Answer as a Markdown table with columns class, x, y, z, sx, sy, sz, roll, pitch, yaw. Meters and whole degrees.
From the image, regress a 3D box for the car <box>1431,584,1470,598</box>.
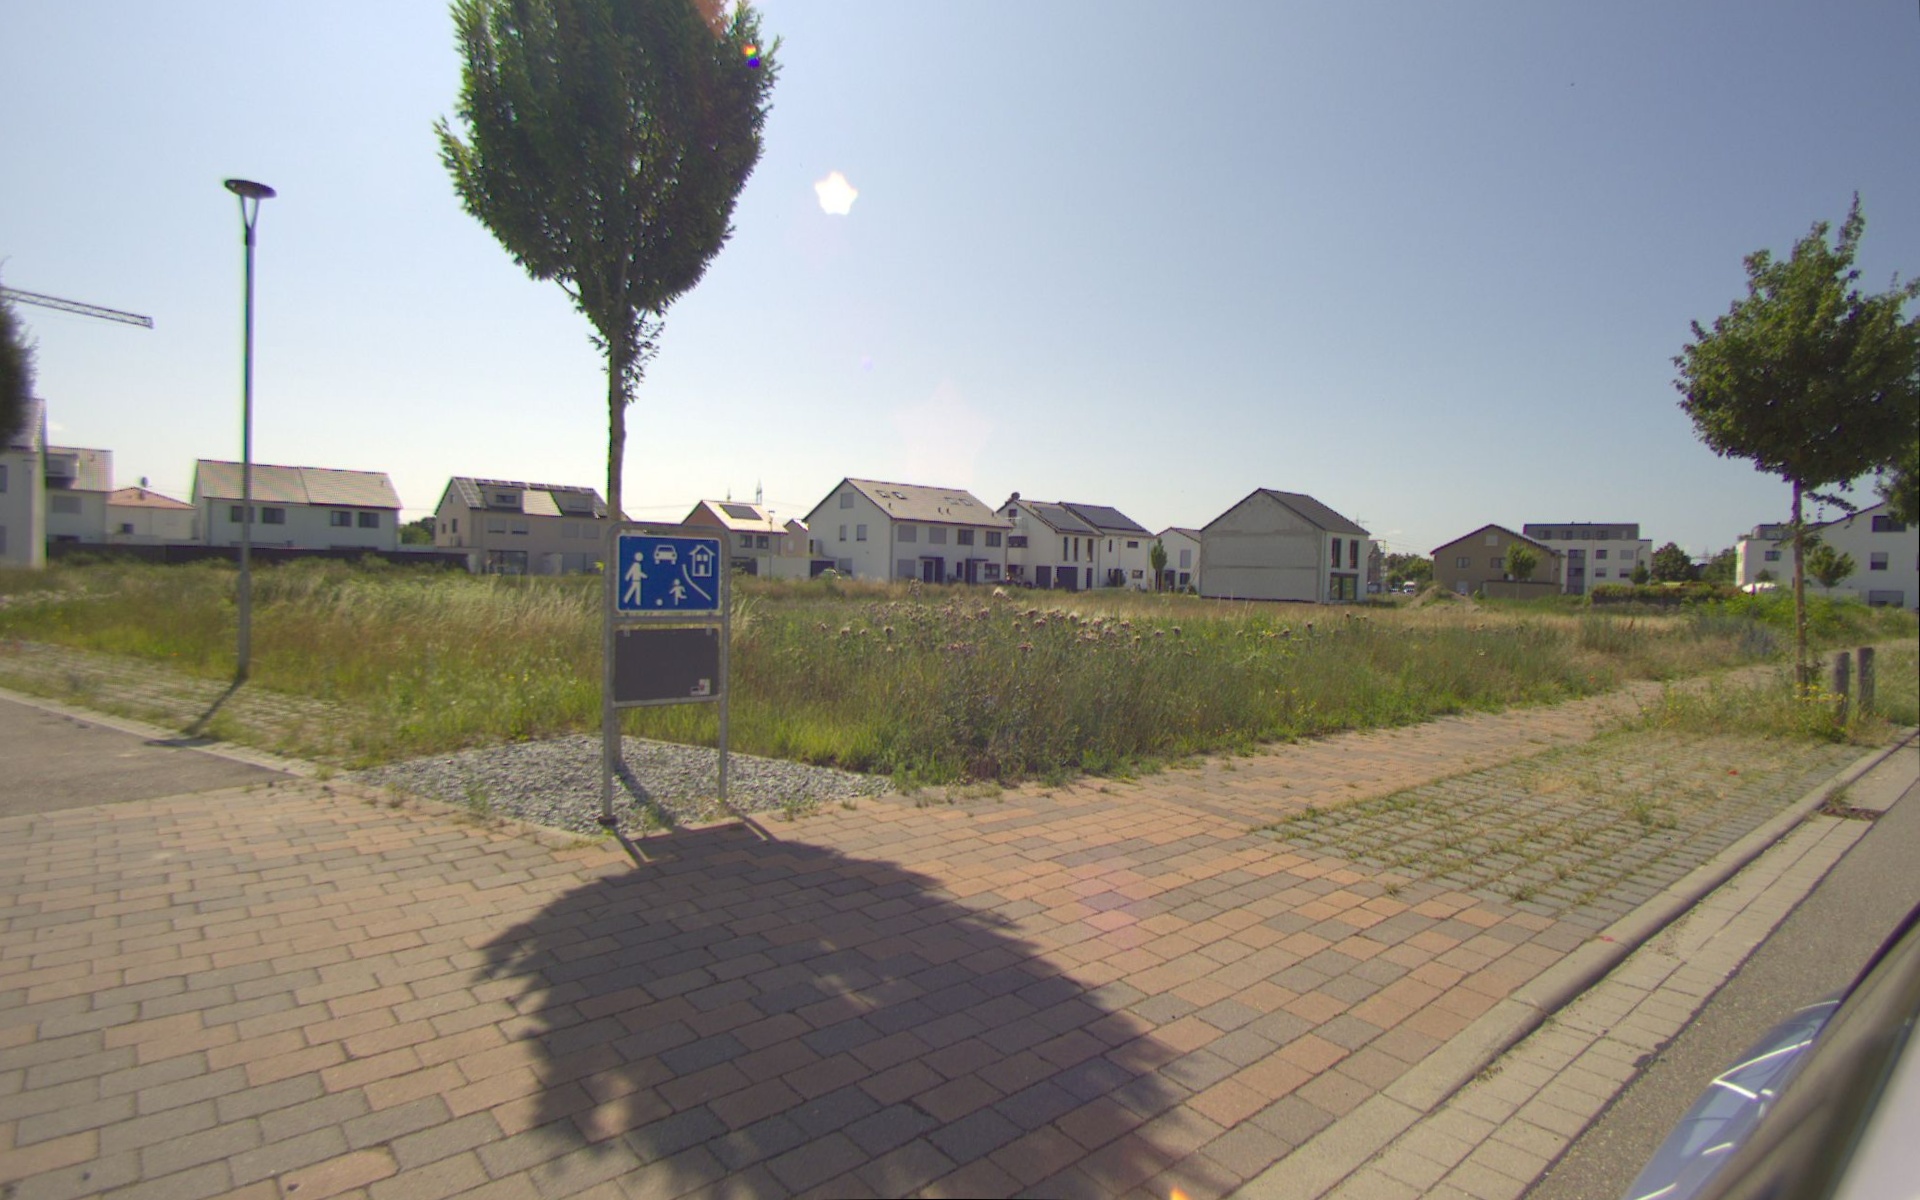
| class | x | y | z | sx | sy | sz | roll | pitch | yaw |
| --- | --- | --- | --- | --- | --- | --- | --- | --- | --- |
| car | 58.445 | -1.071 | 120.629 | 3.983 | 1.471 | 1.610 | 2 | 1 | 41 |
